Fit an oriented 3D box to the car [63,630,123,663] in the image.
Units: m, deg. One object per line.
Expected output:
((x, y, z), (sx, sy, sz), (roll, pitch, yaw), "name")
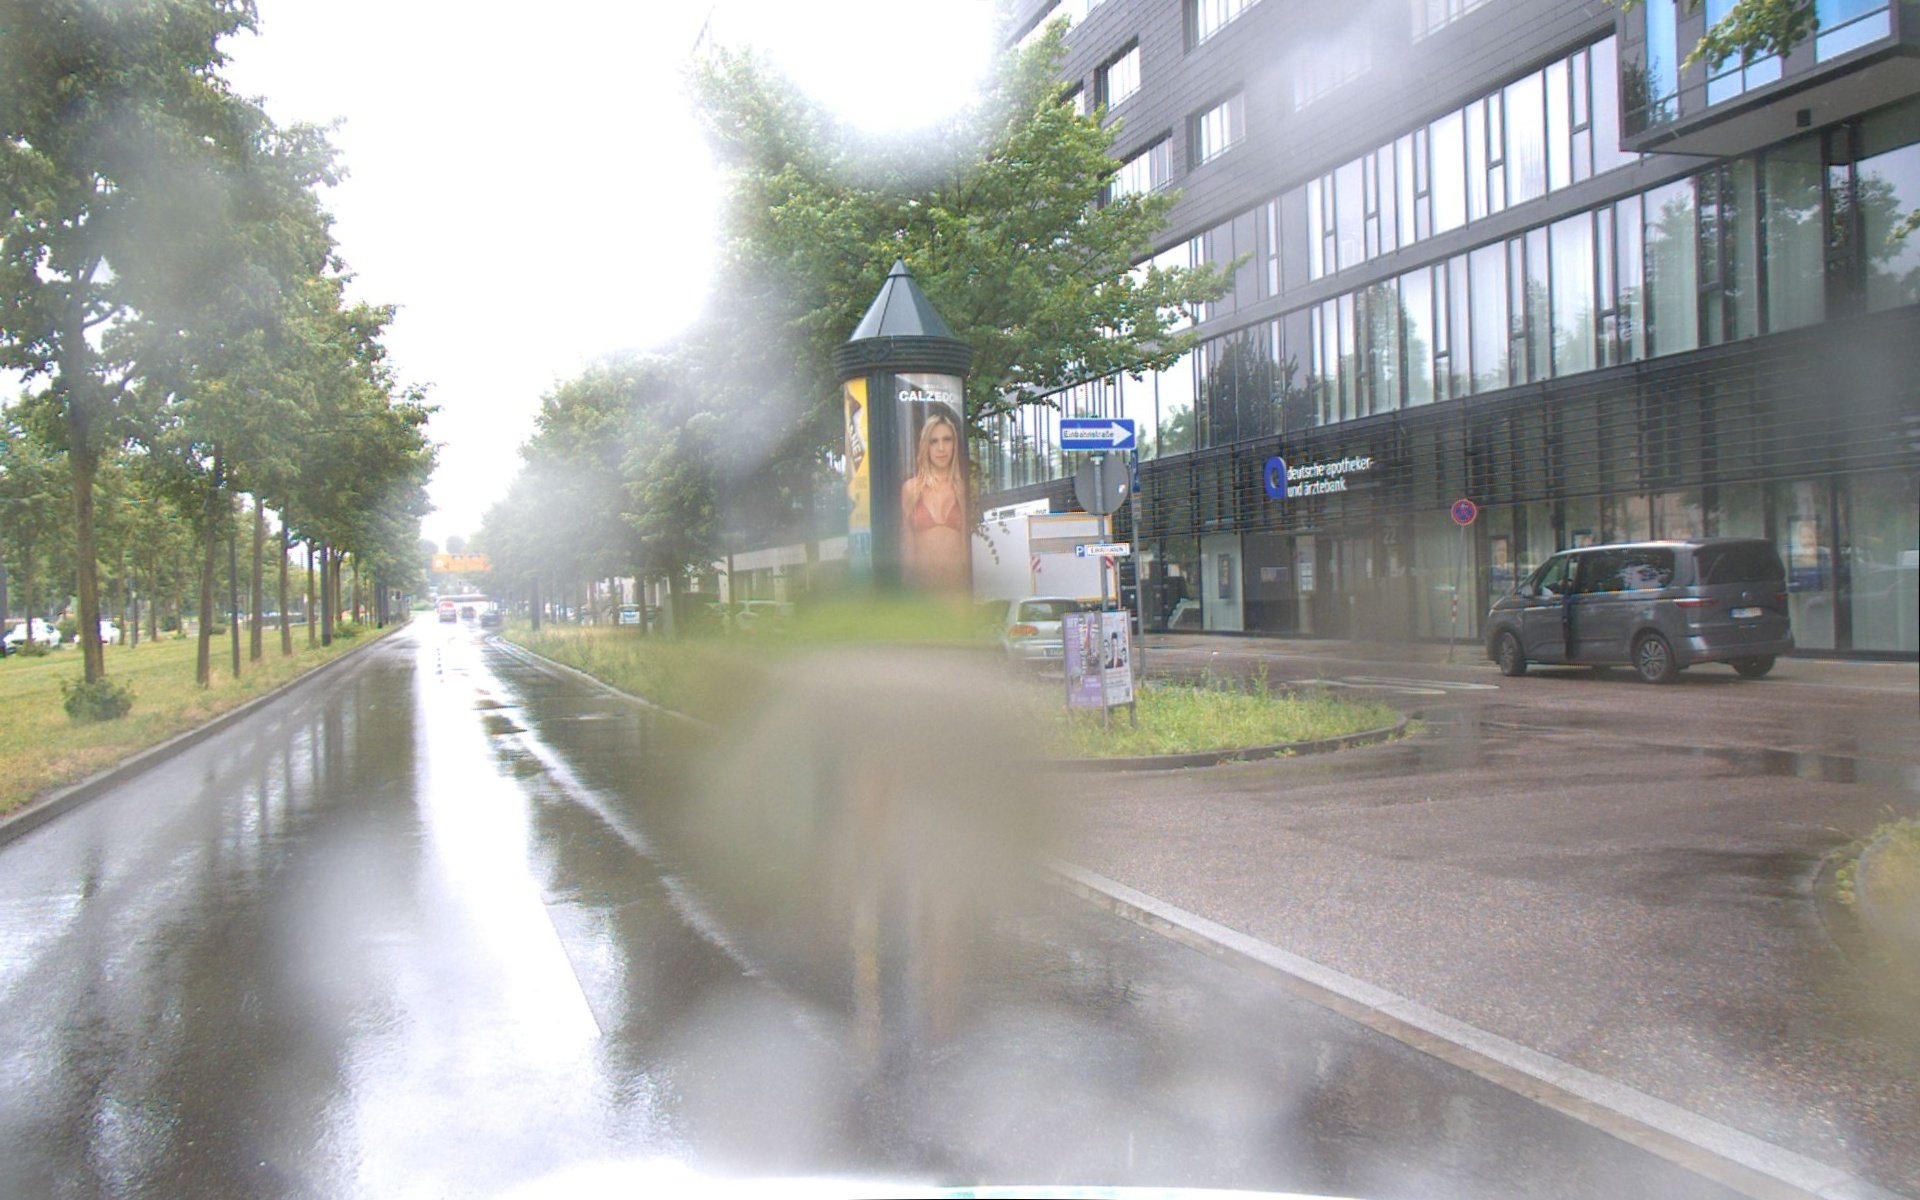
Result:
((-49.386, 2.629, 94.286), (1.918, 1.486, 4.814), (-2, 2, -14), "car")

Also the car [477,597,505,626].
((-36.872, 0.896, 129.955), (1.910, 2.048, 3.981), (-2, 2, -17), "car")

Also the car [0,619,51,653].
((-44.415, 1.682, 77.952), (1.921, 1.477, 4.552), (-2, 0, -18), "car")

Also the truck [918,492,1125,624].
((1.592, -1.132, 48.434), (2.981, 3.501, 8.495), (-2, 0, -20), "truck")

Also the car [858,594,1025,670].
((-0.508, 0.656, 36.098), (1.965, 1.469, 5.205), (-2, 0, -21), "car")

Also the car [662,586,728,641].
((-10.997, 0.505, 68.445), (1.962, 1.986, 5.005), (-2, 2, -17), "car")

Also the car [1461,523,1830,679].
((9.661, 0.006, 23.867), (1.964, 1.953, 5.118), (-2, 0, -20), "car")

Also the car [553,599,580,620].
((-32.195, 0.767, 135.241), (1.852, 1.532, 4.701), (-2, 2, -17), "car")

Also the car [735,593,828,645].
((-5.492, 0.548, 50.310), (1.744, 1.477, 4.695), (-1, 1, -20), "car")

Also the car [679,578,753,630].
((-9.140, 0.114, 61.670), (1.962, 1.698, 4.934), (-2, 2, -17), "car")

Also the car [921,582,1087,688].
((0.709, 0.553, 29.730), (1.733, 1.624, 4.081), (-2, 2, -18), "car")

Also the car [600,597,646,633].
((-18.652, 0.813, 91.445), (1.962, 1.698, 4.701), (-2, 2, -18), "car")

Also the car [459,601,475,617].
((-70.594, 1.298, 236.782), (1.961, 2.048, 3.984), (-2, 2, -15), "car")

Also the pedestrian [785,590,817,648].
((-4.322, 0.511, 44.857), (0.687, 1.519, 0.640), (-2, 0, -21), "pedestrian")

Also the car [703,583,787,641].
((-7.293, 0.349, 55.715), (1.962, 1.698, 4.701), (-2, 2, -18), "car")

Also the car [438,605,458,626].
((-57.335, 1.732, 185.291), (1.961, 2.048, 3.984), (-2, 2, -15), "car")
